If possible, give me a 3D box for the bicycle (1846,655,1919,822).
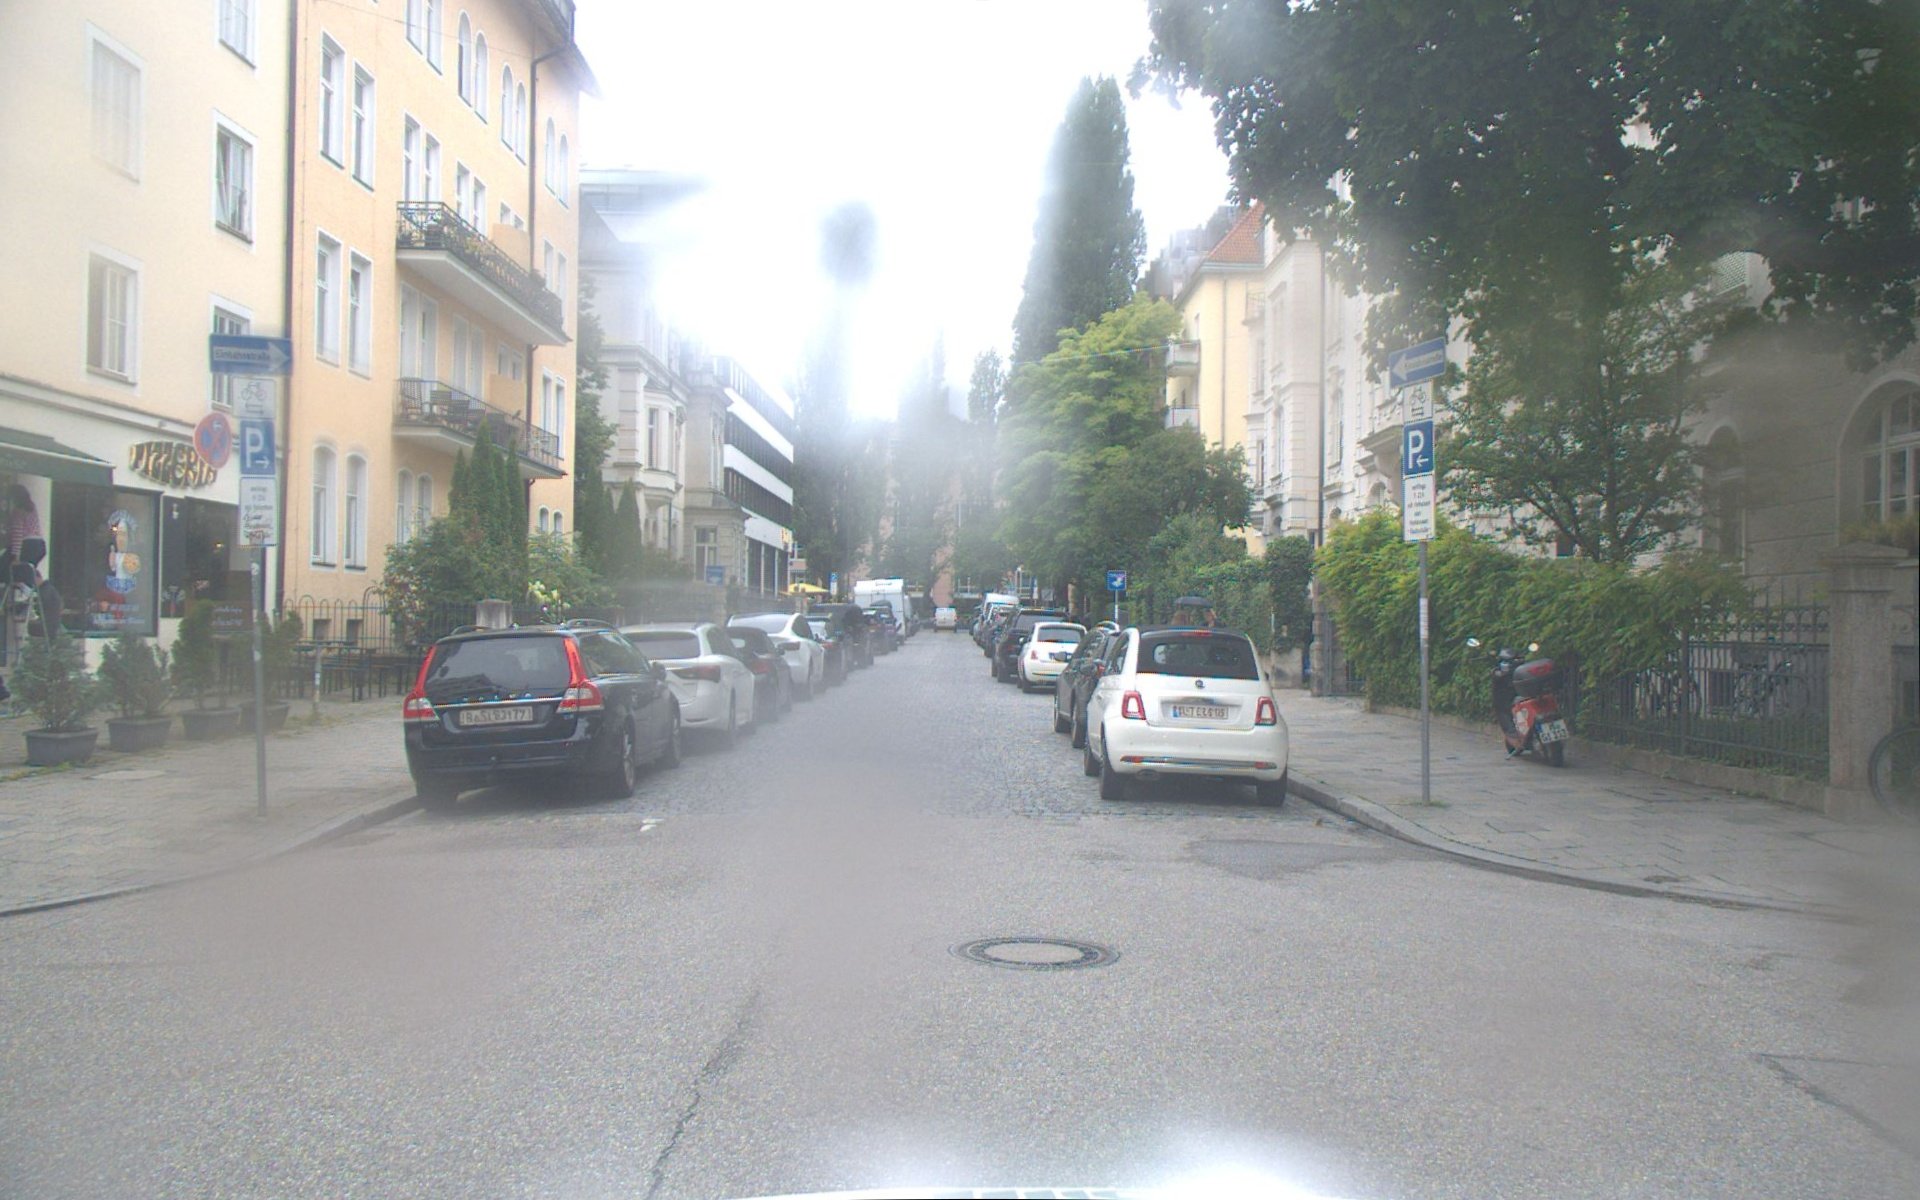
[{"bbox_3d":[7.331,0.976,11.696,1.798,1.144,0.563,0,-1,10],"label":"bicycle"}]

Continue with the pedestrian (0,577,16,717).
[{"bbox_3d":[-11.743,0.559,19.777,0.511,1.671,0.629,1,-1,-1],"label":"pedestrian"}]

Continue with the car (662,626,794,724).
[{"bbox_3d":[-3.545,1.114,25.912,1.739,1.383,4.387,1,-1,-4],"label":"car"}]

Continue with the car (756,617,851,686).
[{"bbox_3d":[-3.504,1.150,37.745,1.737,1.454,4.390,1,-1,0],"label":"car"}]

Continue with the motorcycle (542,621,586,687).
[{"bbox_3d":[-7.640,1.029,31.984,0.481,1.215,1.579,1,0,-1],"label":"motorcycle"}]

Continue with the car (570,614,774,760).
[{"bbox_3d":[-3.437,0.997,20.563,1.737,1.563,4.540,-2,-1,0],"label":"car"}]

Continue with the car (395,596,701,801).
[{"bbox_3d":[-3.673,0.829,15.644,1.815,1.614,4.746,1,-1,-2],"label":"car"}]

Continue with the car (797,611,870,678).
[{"bbox_3d":[-3.259,1.141,43.093,1.547,1.618,4.055,-1,-1,0],"label":"car"}]

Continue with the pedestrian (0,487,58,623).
[{"bbox_3d":[-11.616,-0.551,20.560,0.467,1.671,0.497,1,-1,4],"label":"pedestrian"}]

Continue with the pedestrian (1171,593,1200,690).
[{"bbox_3d":[4.410,0.807,32.377,0.563,1.882,0.682,0,-1,7],"label":"pedestrian"}]

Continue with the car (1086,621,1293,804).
[{"bbox_3d":[2.032,0.958,15.511,1.471,1.497,3.795,0,-1,1],"label":"car"}]

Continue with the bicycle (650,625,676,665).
[{"bbox_3d":[-7.779,1.180,43.315,0.344,1.020,1.573,1,-1,1],"label":"bicycle"}]

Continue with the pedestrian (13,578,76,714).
[{"bbox_3d":[-11.732,0.586,21.205,0.452,1.720,0.574,1,-1,0],"label":"pedestrian"}]

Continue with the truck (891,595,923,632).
[{"bbox_3d":[-3.454,0.891,107.888,1.953,2.388,4.067,1,-1,0],"label":"truck"}]

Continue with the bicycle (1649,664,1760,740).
[{"bbox_3d":[9.108,1.223,20.306,0.481,0.826,2.274,1,-1,4],"label":"bicycle"}]

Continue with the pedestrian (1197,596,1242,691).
[{"bbox_3d":[5.142,0.859,32.761,0.619,1.840,0.655,1,-1,-23],"label":"pedestrian"}]

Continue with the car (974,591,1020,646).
[{"bbox_3d":[1.740,0.864,80.389,1.857,2.468,5.610,4,0,-1],"label":"car"}]

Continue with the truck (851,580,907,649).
[{"bbox_3d":[-3.819,0.678,79.018,2.457,3.085,6.382,-1,0,-1],"label":"truck"}]

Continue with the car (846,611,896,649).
[{"bbox_3d":[-3.615,1.210,67.784,1.900,1.485,4.056,1,-1,-1],"label":"car"}]

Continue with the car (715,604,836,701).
[{"bbox_3d":[-3.476,0.973,31.819,1.737,1.676,4.391,2,-1,1],"label":"car"}]

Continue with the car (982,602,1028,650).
[{"bbox_3d":[2.001,1.179,74.836,1.764,1.983,4.859,3,-1,-1],"label":"car"}]

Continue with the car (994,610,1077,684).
[{"bbox_3d":[1.819,1.146,41.386,1.836,1.702,5.490,1,-1,0],"label":"car"}]

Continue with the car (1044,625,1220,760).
[{"bbox_3d":[2.112,1.106,21.442,1.615,1.446,4.630,4,-1,-1],"label":"car"}]

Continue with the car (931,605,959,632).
[{"bbox_3d":[-1.136,1.419,126.213,1.955,1.970,4.000,1,-1,1],"label":"car"}]

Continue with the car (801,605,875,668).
[{"bbox_3d":[-3.574,1.042,49.224,1.942,1.768,4.721,1,0,-1],"label":"car"}]

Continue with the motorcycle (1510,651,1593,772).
[{"bbox_3d":[5.760,1.062,16.153,0.355,1.109,1.404,1,-1,2],"label":"motorcycle"}]

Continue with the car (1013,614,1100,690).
[{"bbox_3d":[2.053,1.103,35.936,1.597,1.495,3.658,3,-1,0],"label":"car"}]

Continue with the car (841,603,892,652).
[{"bbox_3d":[-3.482,1.047,62.428,1.737,1.748,4.389,1,-1,-1],"label":"car"}]

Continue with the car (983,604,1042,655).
[{"bbox_3d":[1.912,1.091,61.669,1.923,1.790,4.953,1,-1,-1],"label":"car"}]
